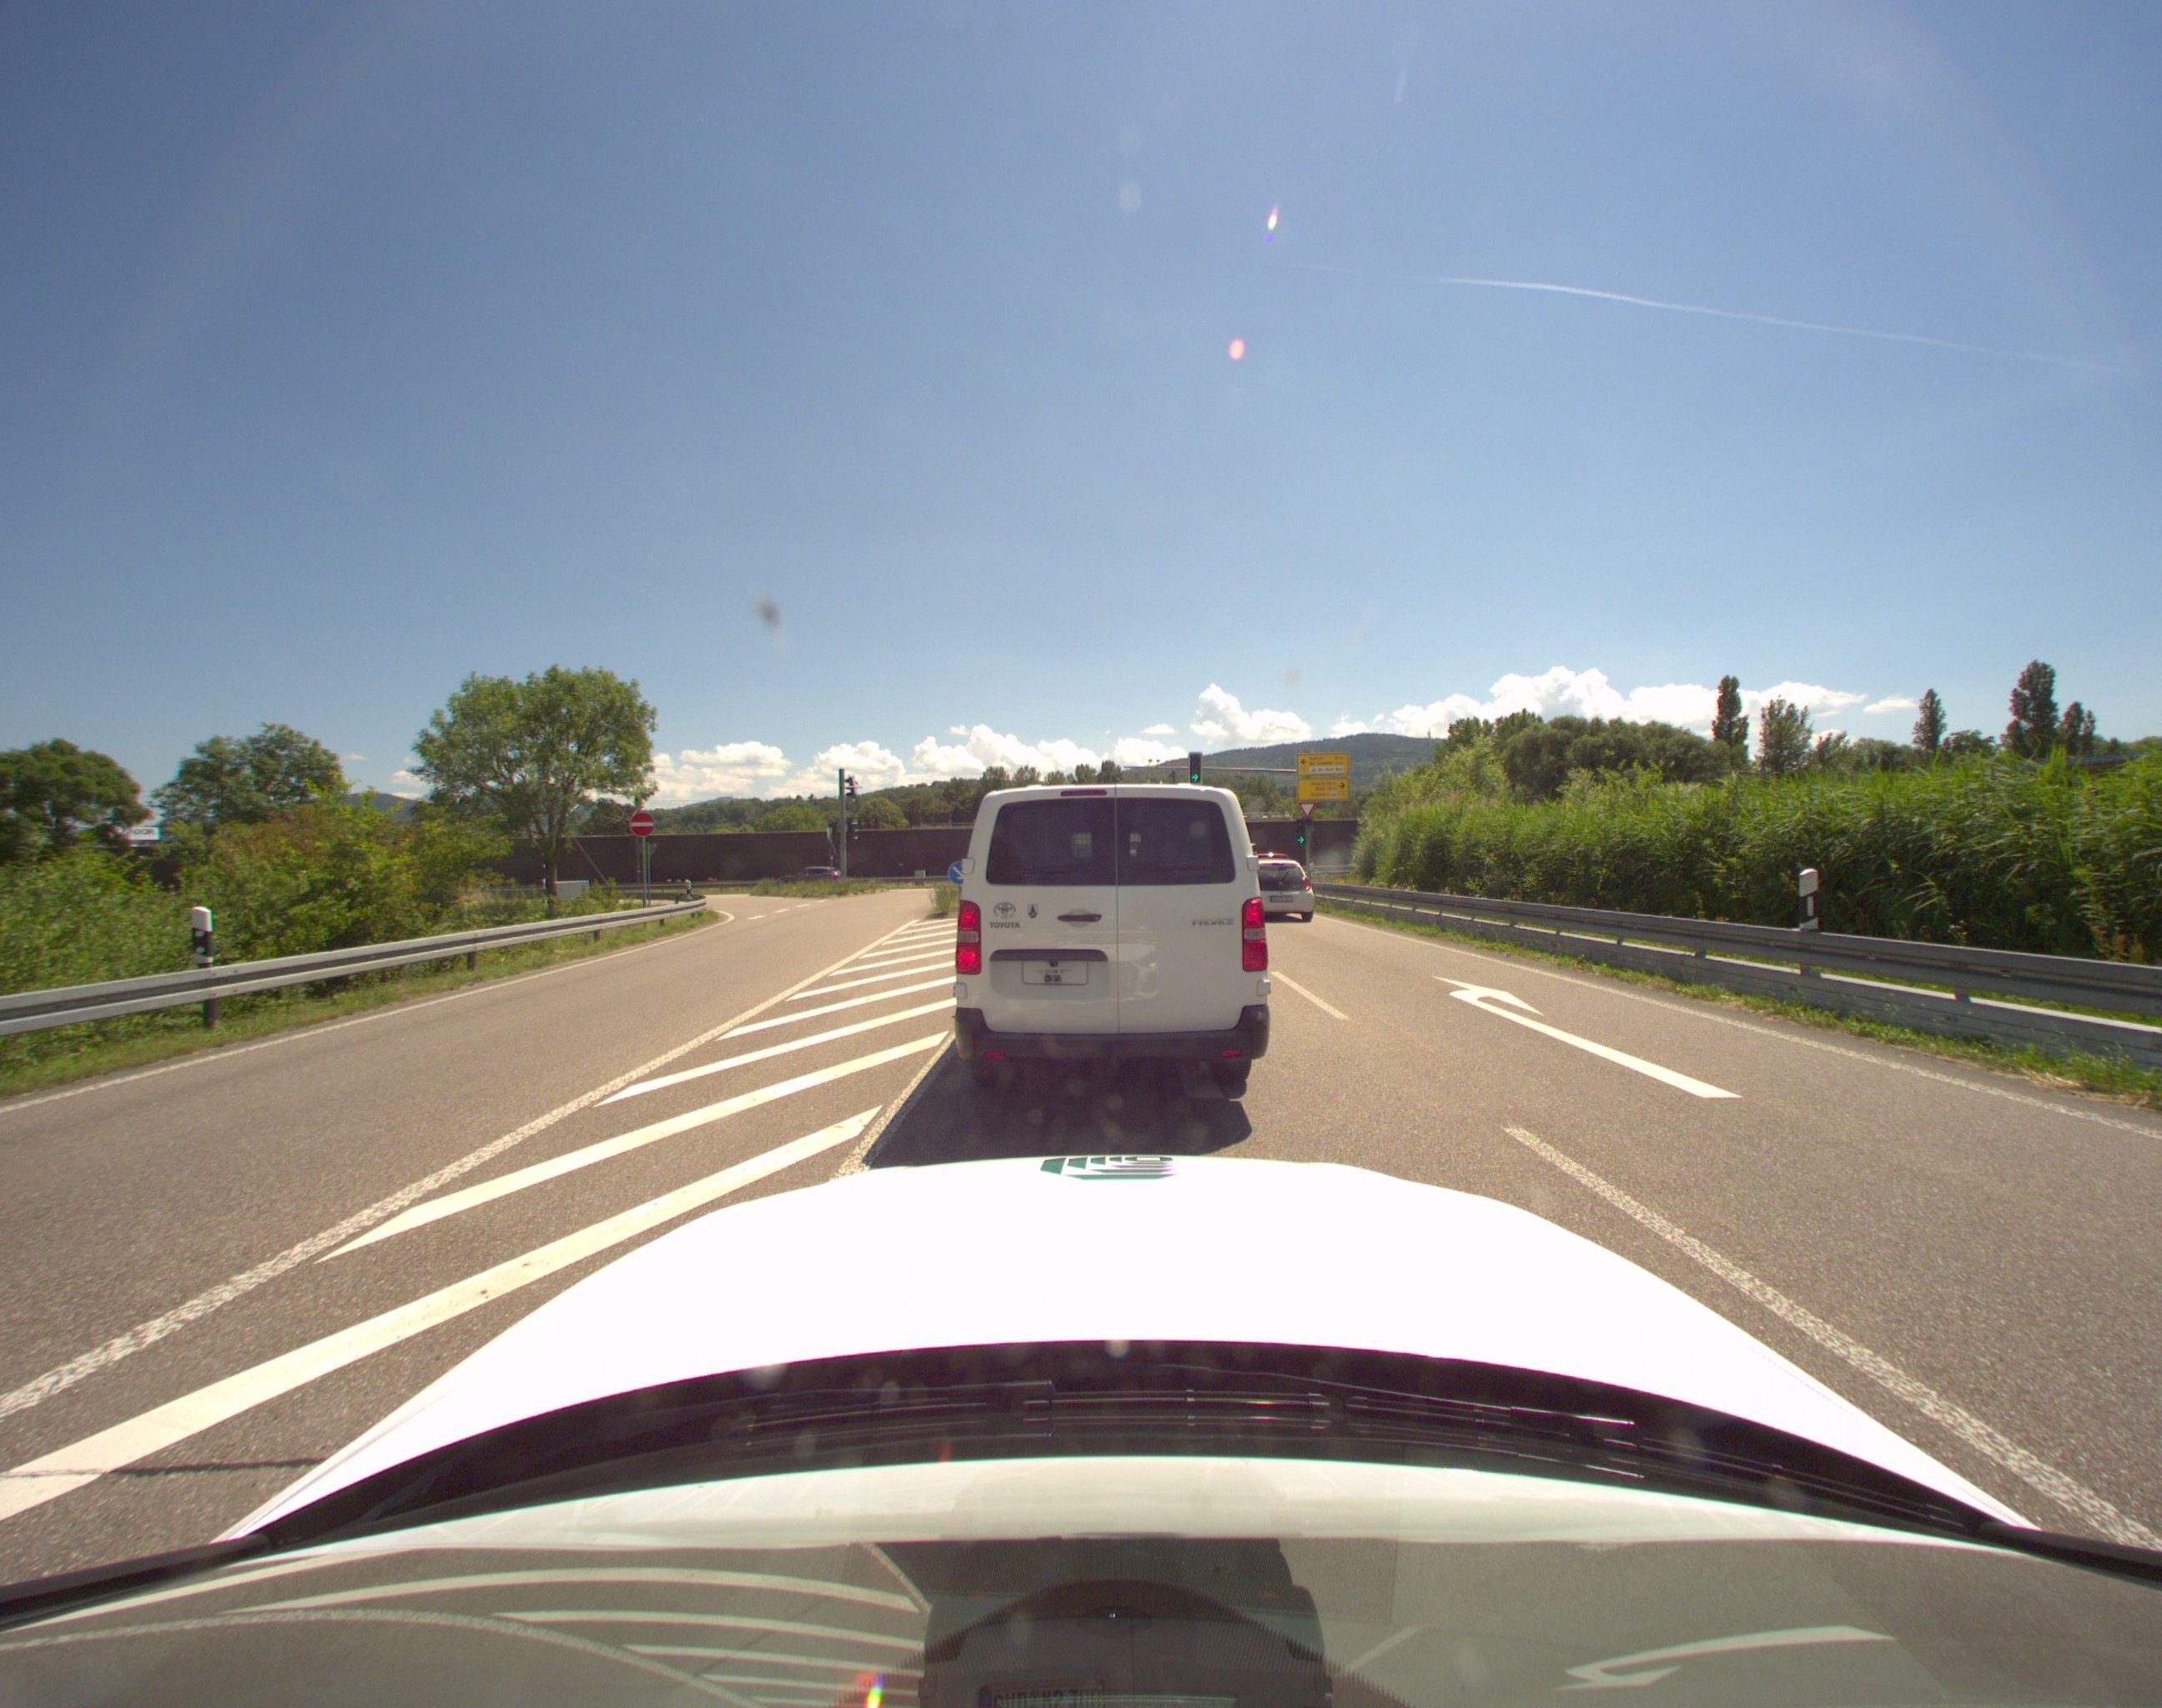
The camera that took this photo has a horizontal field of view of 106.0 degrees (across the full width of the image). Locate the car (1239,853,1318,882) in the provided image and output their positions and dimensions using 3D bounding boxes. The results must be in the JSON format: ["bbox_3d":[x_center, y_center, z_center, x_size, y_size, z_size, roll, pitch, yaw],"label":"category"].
[{"bbox_3d":[11.981,0.817,49.542,4.298,1.656,1.999,-1,-1,-2],"label":"car"}]

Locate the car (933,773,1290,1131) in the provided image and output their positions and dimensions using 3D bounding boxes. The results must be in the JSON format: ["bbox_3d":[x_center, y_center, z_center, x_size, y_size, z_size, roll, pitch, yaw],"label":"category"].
[{"bbox_3d":[0.206,0.535,6.333,1.880,1.886,4.001,-1,-1,1],"label":"car"}]

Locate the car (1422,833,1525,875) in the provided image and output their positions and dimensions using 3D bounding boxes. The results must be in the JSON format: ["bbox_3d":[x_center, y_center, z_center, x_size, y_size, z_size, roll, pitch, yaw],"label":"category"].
[{"bbox_3d":[23.926,0.004,49.748,5.328,2.450,2.039,-1,-1,-1],"label":"car"}]

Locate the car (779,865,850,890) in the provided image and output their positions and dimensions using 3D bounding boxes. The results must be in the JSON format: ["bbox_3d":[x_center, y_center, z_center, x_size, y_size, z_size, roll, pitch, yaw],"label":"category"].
[{"bbox_3d":[-17.248,1.528,52.853,3.975,1.556,1.999,-1,0,-1],"label":"car"}]

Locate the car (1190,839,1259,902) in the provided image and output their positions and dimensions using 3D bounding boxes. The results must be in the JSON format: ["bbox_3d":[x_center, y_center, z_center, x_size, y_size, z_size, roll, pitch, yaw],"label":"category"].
[{"bbox_3d":[4.944,0.553,28.635,1.920,2.000,4.843,-1,-1,4],"label":"car"}]

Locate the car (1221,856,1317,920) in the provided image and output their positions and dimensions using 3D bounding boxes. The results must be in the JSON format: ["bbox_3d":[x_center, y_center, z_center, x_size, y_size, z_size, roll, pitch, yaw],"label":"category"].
[{"bbox_3d":[4.576,0.788,20.240,1.650,1.431,3.366,-1,-1,1],"label":"car"}]
